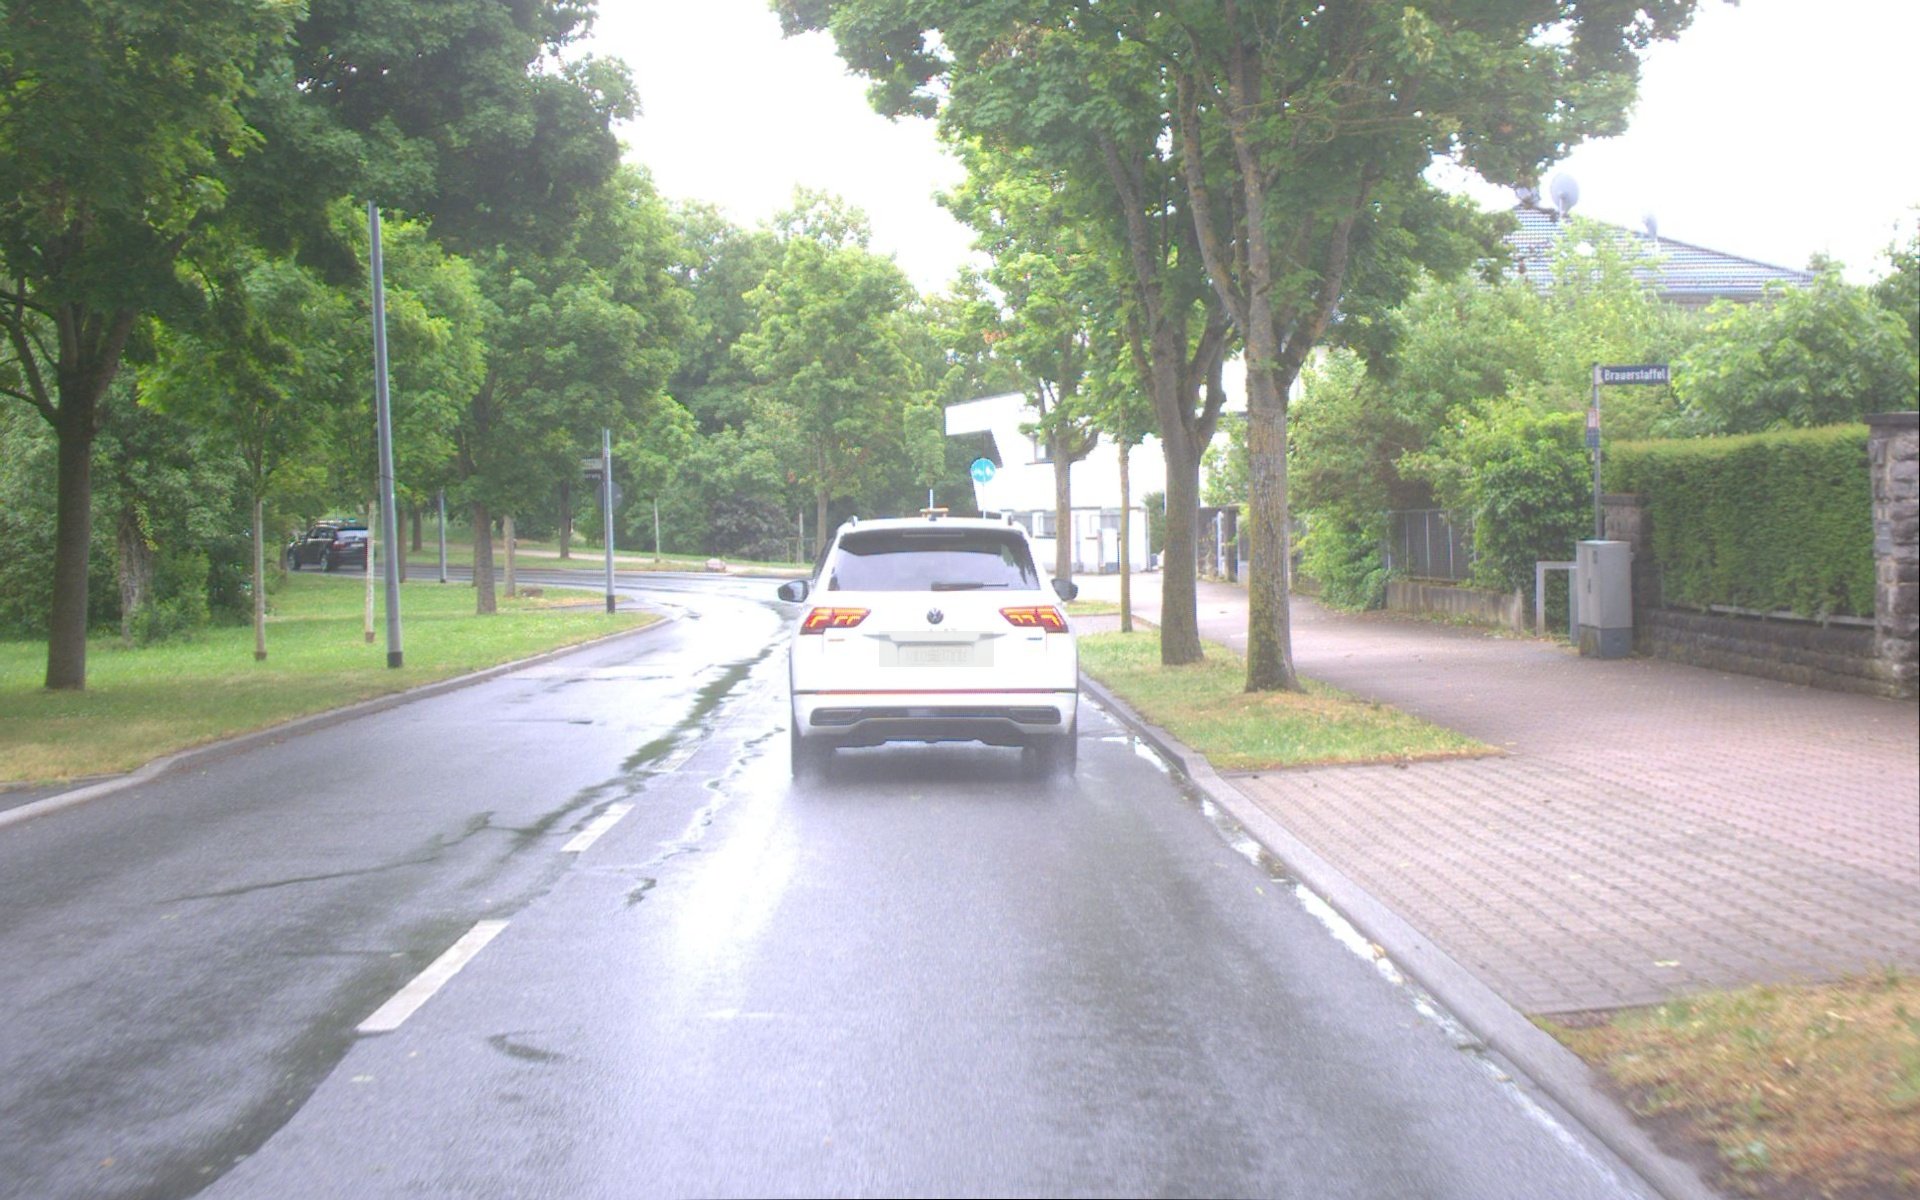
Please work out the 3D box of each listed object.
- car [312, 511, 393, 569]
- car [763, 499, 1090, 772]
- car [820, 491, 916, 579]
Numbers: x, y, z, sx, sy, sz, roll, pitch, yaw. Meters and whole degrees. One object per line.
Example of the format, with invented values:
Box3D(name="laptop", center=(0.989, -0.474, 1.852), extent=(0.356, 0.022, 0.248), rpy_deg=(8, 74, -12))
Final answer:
Box3D(name="car", center=(-21.378, -2.112, 120.830), extent=(1.900, 2.007, 3.945), rpy_deg=(0, 1, -24))
Box3D(name="car", center=(-0.203, 0.154, 22.889), extent=(1.974, 1.647, 4.177), rpy_deg=(0, 2, 0))
Box3D(name="car", center=(-2.186, -1.535, 80.706), extent=(1.900, 2.007, 3.945), rpy_deg=(0, 1, -7))
